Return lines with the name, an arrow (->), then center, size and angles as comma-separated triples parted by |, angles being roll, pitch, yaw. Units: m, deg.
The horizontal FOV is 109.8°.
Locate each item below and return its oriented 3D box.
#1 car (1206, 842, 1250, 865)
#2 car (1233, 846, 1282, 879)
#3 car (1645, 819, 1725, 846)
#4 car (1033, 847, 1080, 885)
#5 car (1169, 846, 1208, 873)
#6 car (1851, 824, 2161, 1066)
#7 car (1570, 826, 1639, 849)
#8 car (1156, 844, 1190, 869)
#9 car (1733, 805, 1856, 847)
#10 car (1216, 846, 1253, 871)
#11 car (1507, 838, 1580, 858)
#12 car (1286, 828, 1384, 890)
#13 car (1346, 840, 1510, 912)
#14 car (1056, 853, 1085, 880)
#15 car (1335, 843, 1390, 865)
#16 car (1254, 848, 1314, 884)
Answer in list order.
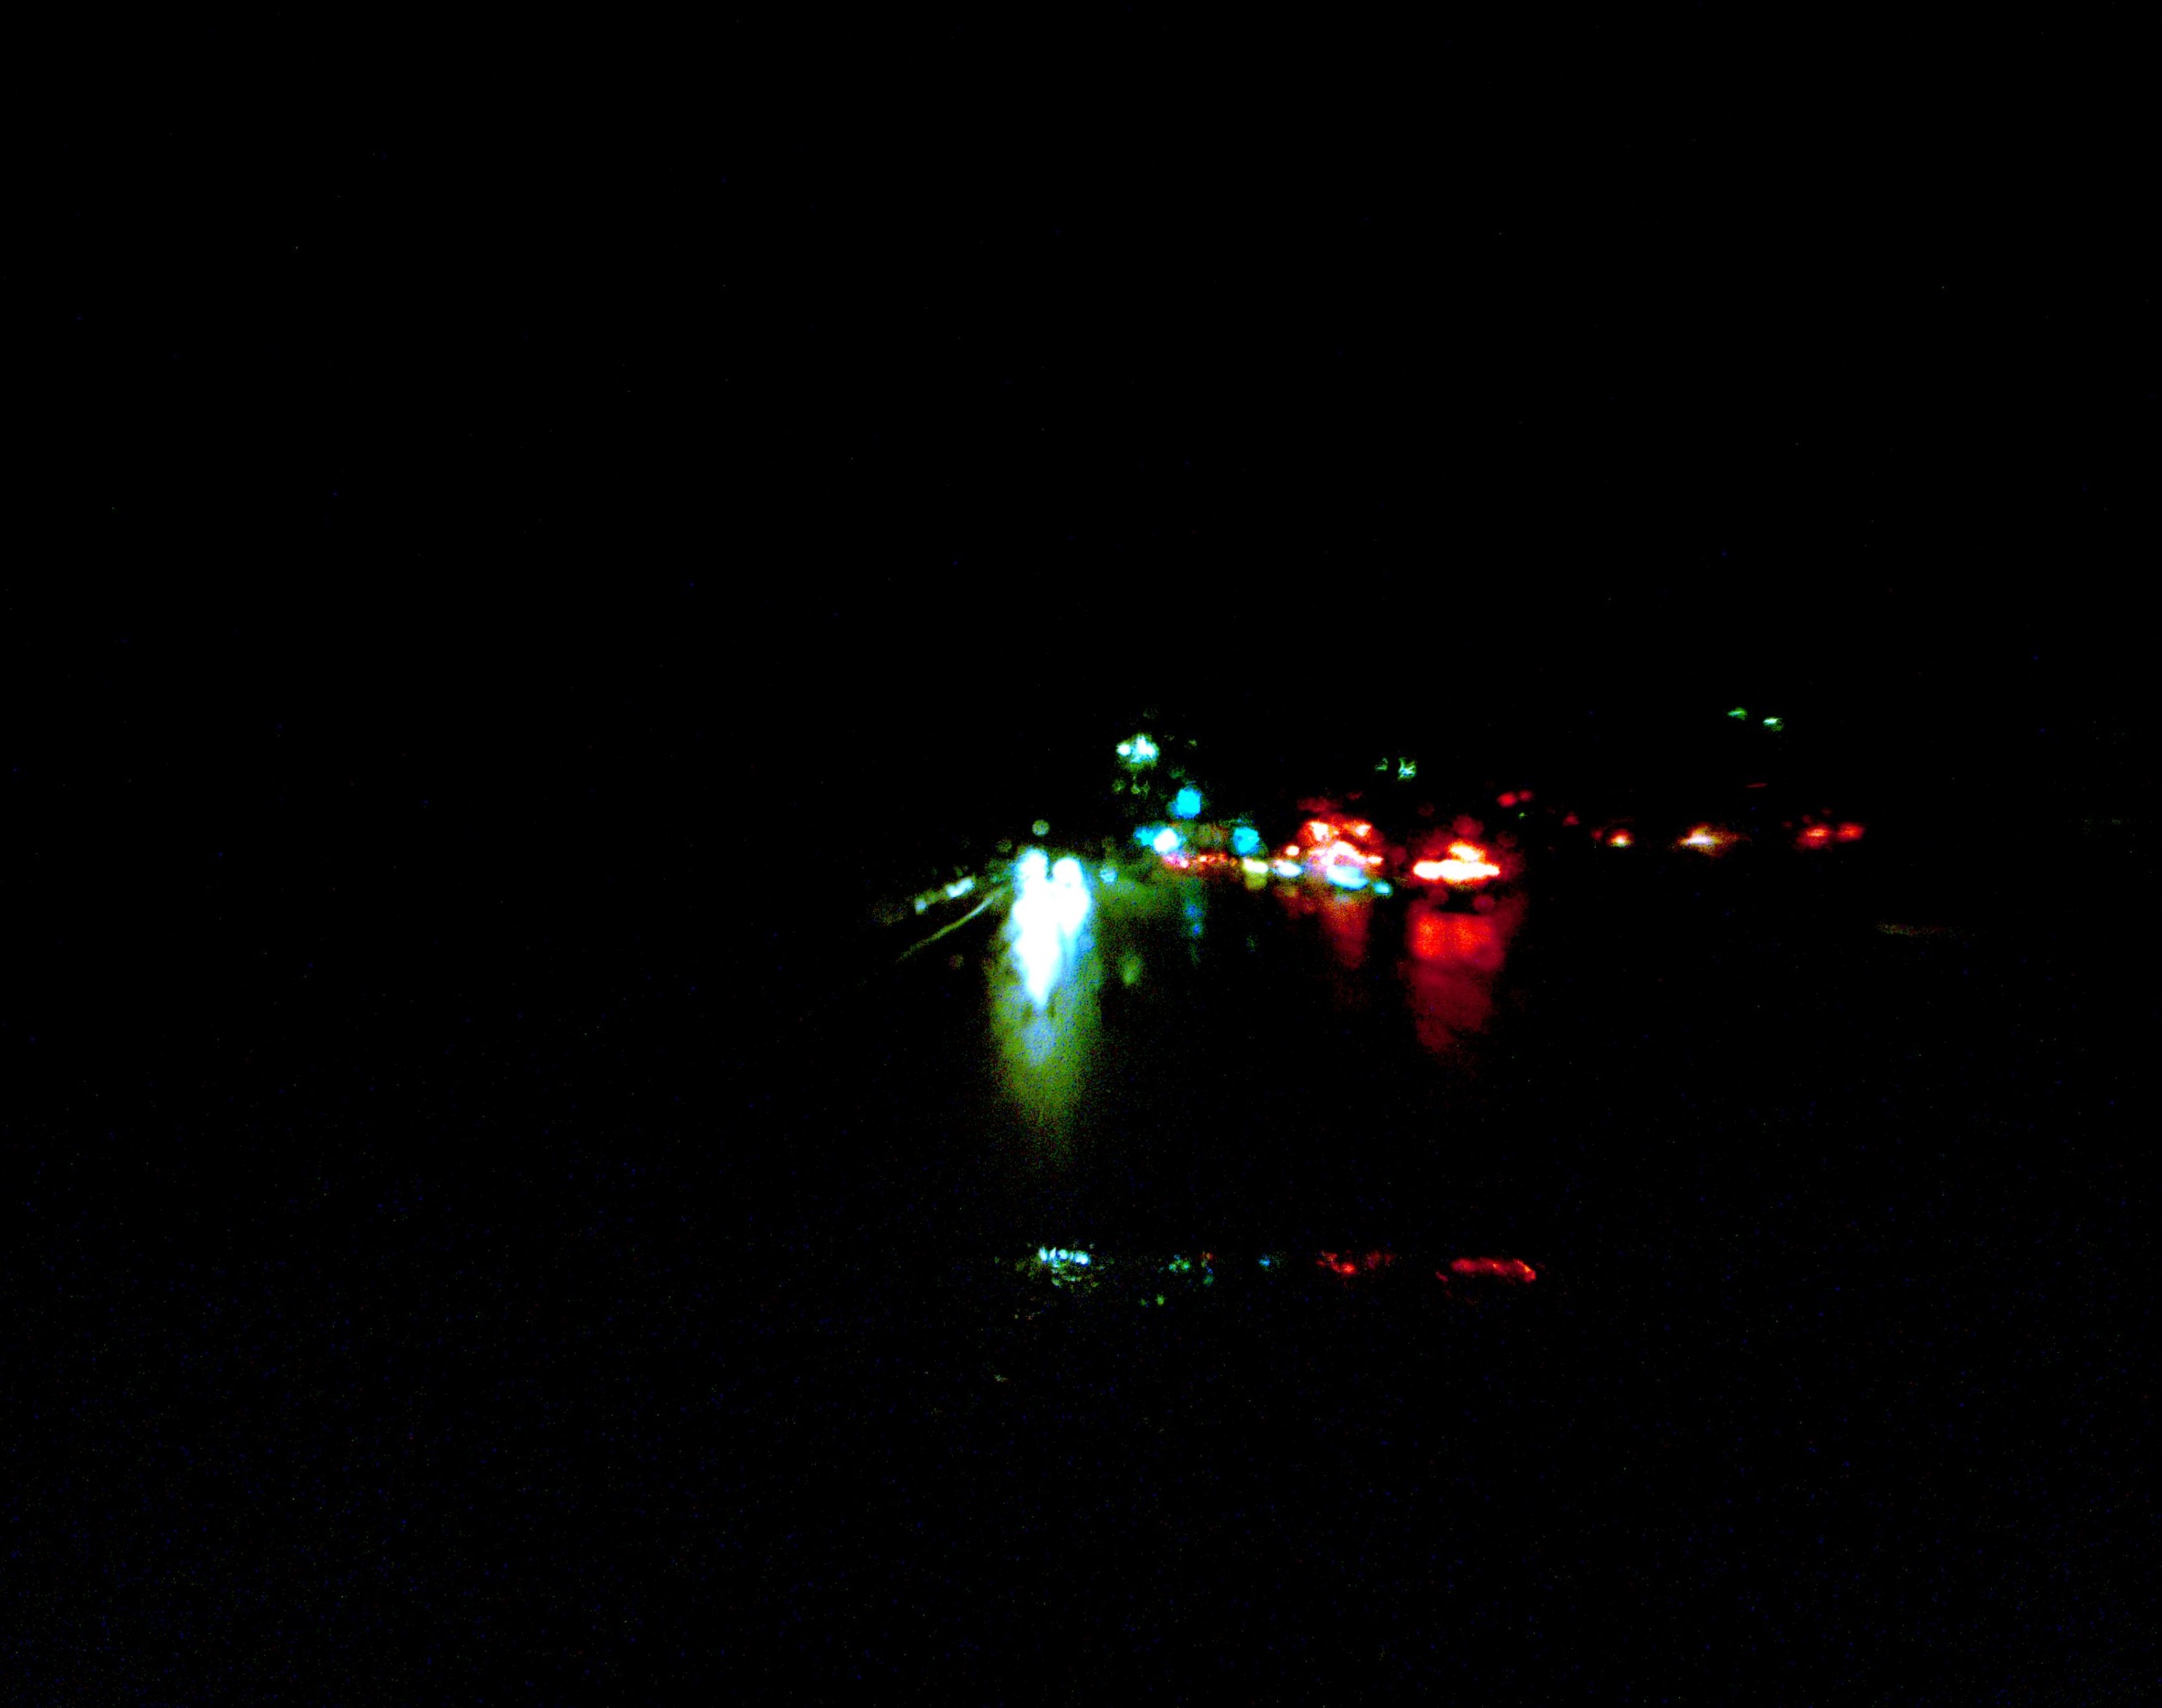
car -> 10.826, -0.057, 56.258 | 2.364, 1.547, 5.159 | -2, 0, 2
car -> 10.010, 0.429, 43.378 | 1.998, 1.736, 4.499 | -2, 0, 4
car -> 42.655, -1.479, 53.783 | 1.851, 1.683, 4.446 | -2, 0, -6
car -> -1.117, 0.537, 36.813 | 1.878, 1.579, 4.888 | -3, 1, 2
car -> 7.033, 0.319, 50.102 | 1.961, 1.562, 4.466 | -2, 1, 1
car -> 7.907, 0.562, 4.444 | 2.088, 1.534, 4.899 | -2, 0, 5
car -> 40.854, -1.283, 59.377 | 2.002, 1.582, 3.991 | -3, 1, -27
car -> 6.938, 0.154, 57.743 | 1.998, 1.688, 5.012 | -2, 1, 1
car -> 42.754, -1.589, 45.802 | 1.998, 2.294, 6.023 | -2, 0, 4
car -> 10.098, 0.268, 50.268 | 1.827, 1.444, 3.601 | -3, 1, 3
car -> 35.487, -0.428, 58.331 | 4.492, 1.357, 1.669 | -2, 1, 43
car -> 9.209, 0.141, 28.046 | 2.158, 2.002, 4.996 | -2, 0, 4
car -> 8.660, 0.479, 19.603 | 2.186, 1.549, 5.205 | -2, 0, 5
car -> -0.751, 0.896, 56.710 | 1.794, 1.802, 4.198 | -3, 1, 3
car -> 24.809, -0.027, 66.986 | 4.514, 1.833, 2.003 | -1, 0, 22
car -> 9.303, 0.517, 35.047 | 1.970, 1.520, 3.688 | -2, 0, 4
